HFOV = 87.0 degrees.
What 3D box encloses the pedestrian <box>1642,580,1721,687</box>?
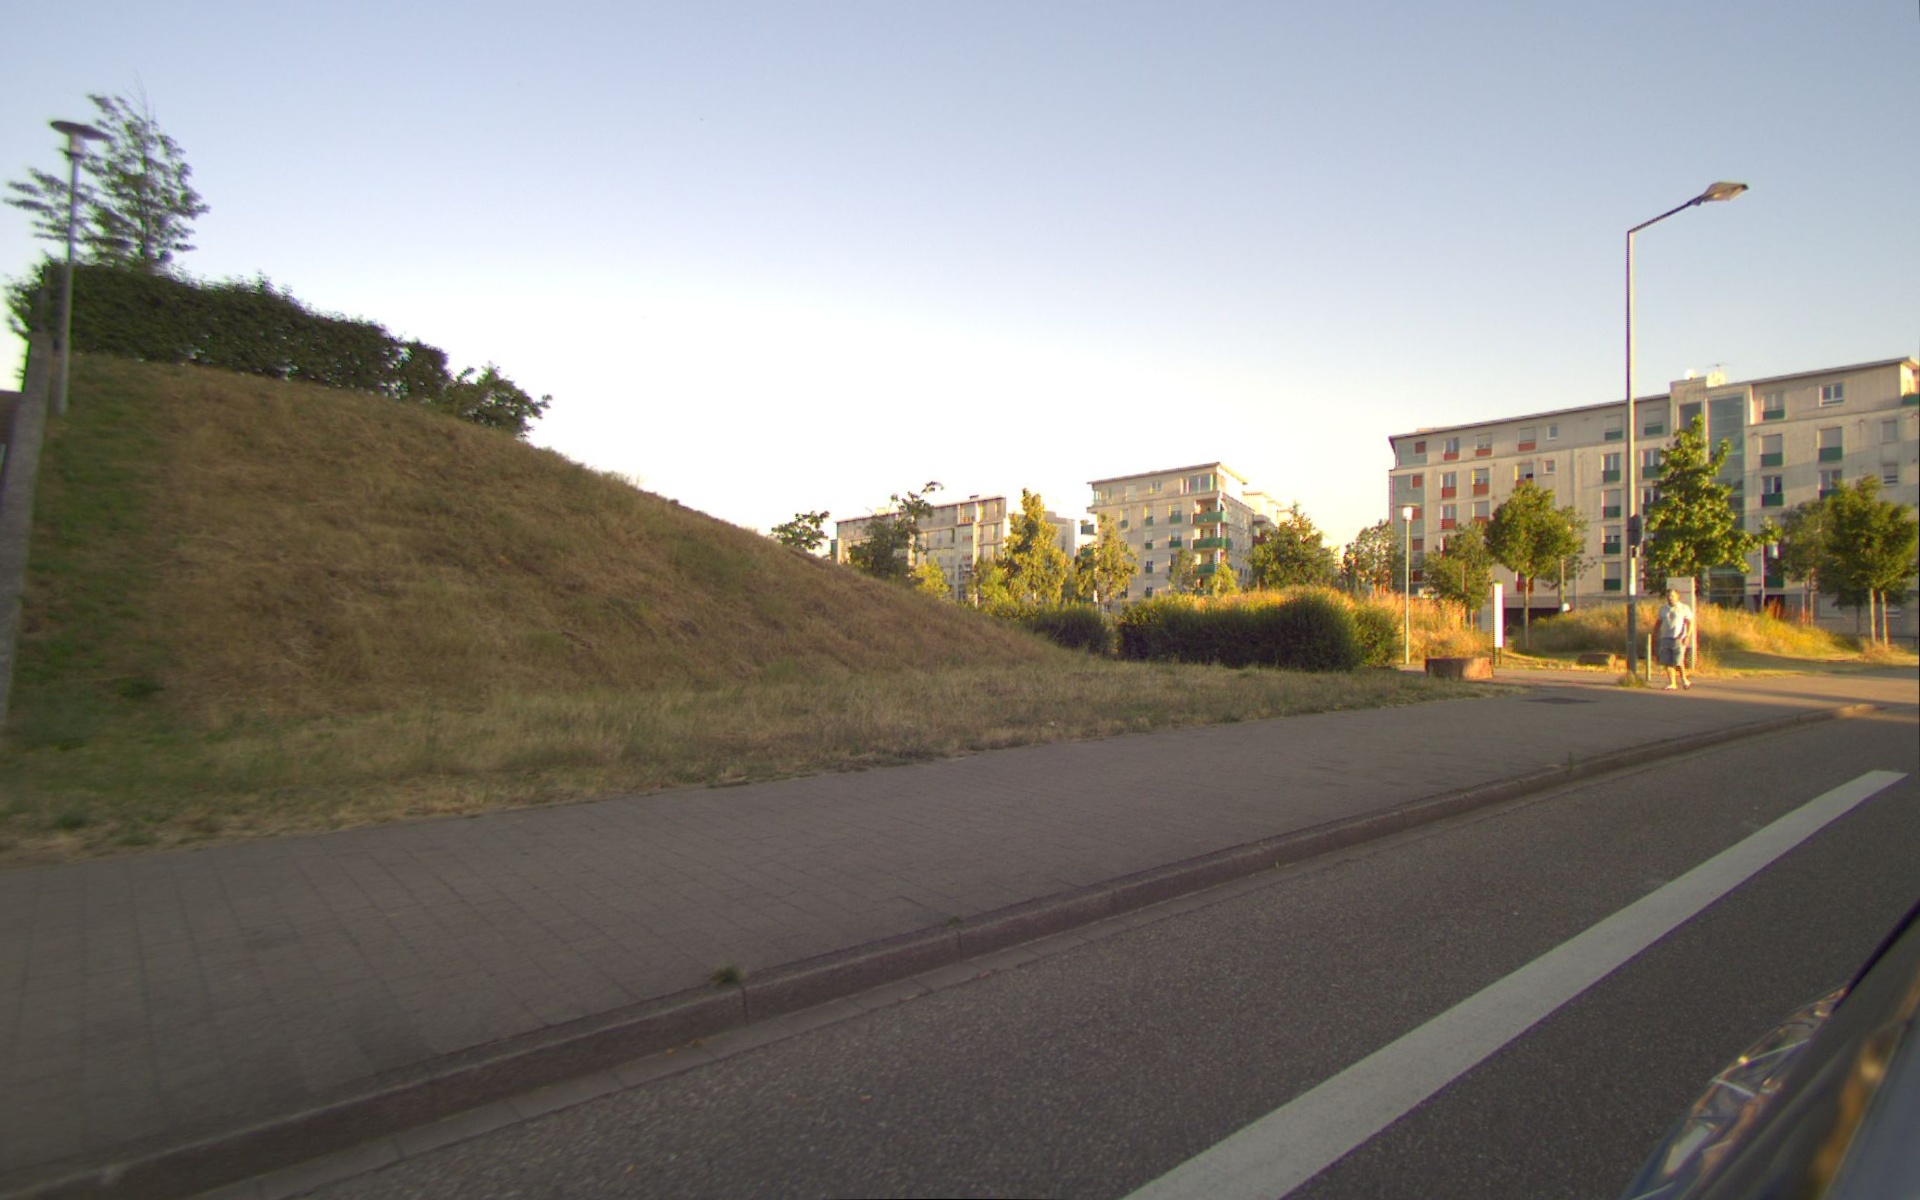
[{"bbox_3d":[12.630,0.564,17.714,0.802,1.788,0.835,1,1,-33],"label":"pedestrian"}]
